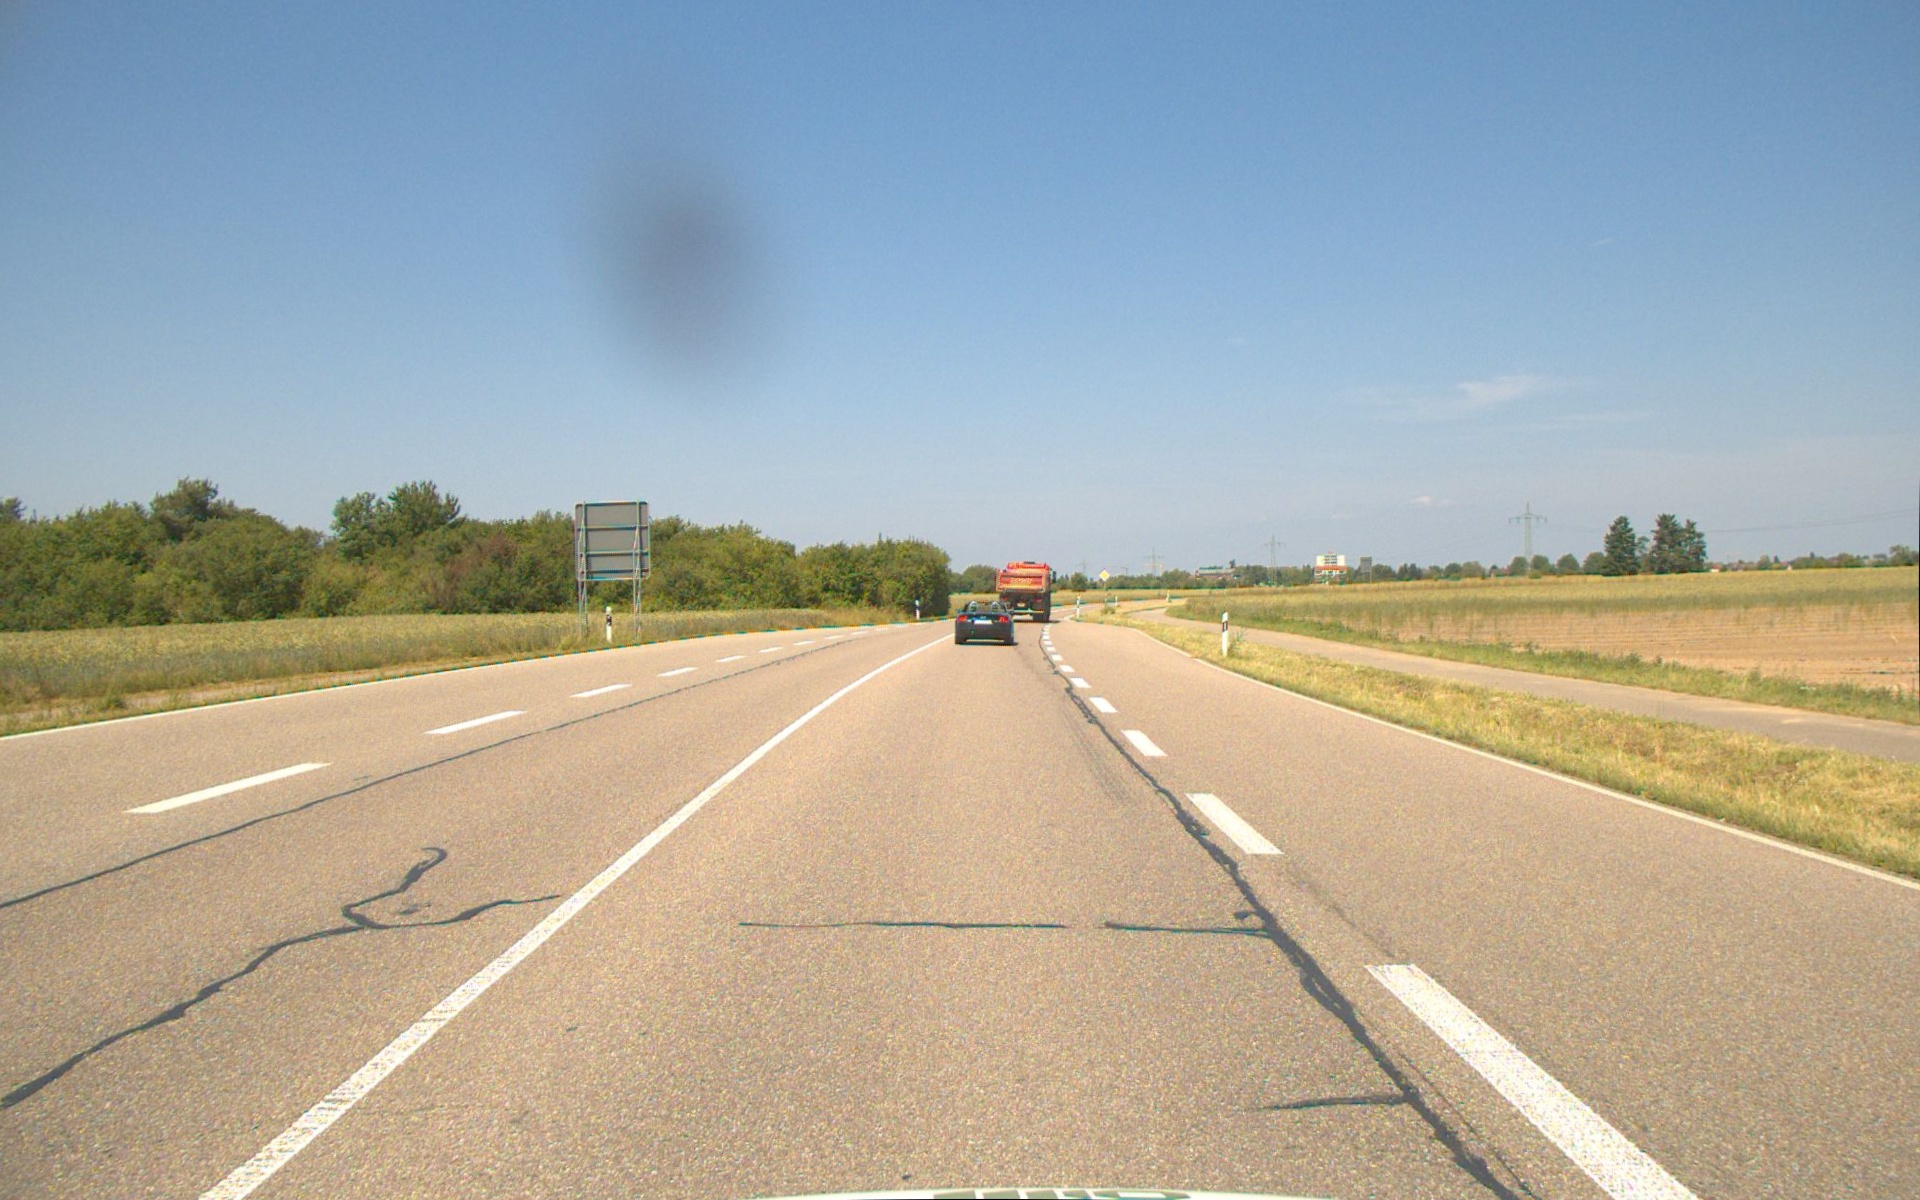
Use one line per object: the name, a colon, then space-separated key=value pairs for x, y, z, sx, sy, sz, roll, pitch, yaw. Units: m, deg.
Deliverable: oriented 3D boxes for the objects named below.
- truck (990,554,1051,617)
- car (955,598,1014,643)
truck: x=3.247 y=-0.730 z=86.747 sx=2.876 sy=3.143 sz=7.200 roll=0 pitch=0 yaw=5
car: x=0.747 y=0.608 z=50.528 sx=1.708 sy=1.302 sz=4.000 roll=0 pitch=0 yaw=1
